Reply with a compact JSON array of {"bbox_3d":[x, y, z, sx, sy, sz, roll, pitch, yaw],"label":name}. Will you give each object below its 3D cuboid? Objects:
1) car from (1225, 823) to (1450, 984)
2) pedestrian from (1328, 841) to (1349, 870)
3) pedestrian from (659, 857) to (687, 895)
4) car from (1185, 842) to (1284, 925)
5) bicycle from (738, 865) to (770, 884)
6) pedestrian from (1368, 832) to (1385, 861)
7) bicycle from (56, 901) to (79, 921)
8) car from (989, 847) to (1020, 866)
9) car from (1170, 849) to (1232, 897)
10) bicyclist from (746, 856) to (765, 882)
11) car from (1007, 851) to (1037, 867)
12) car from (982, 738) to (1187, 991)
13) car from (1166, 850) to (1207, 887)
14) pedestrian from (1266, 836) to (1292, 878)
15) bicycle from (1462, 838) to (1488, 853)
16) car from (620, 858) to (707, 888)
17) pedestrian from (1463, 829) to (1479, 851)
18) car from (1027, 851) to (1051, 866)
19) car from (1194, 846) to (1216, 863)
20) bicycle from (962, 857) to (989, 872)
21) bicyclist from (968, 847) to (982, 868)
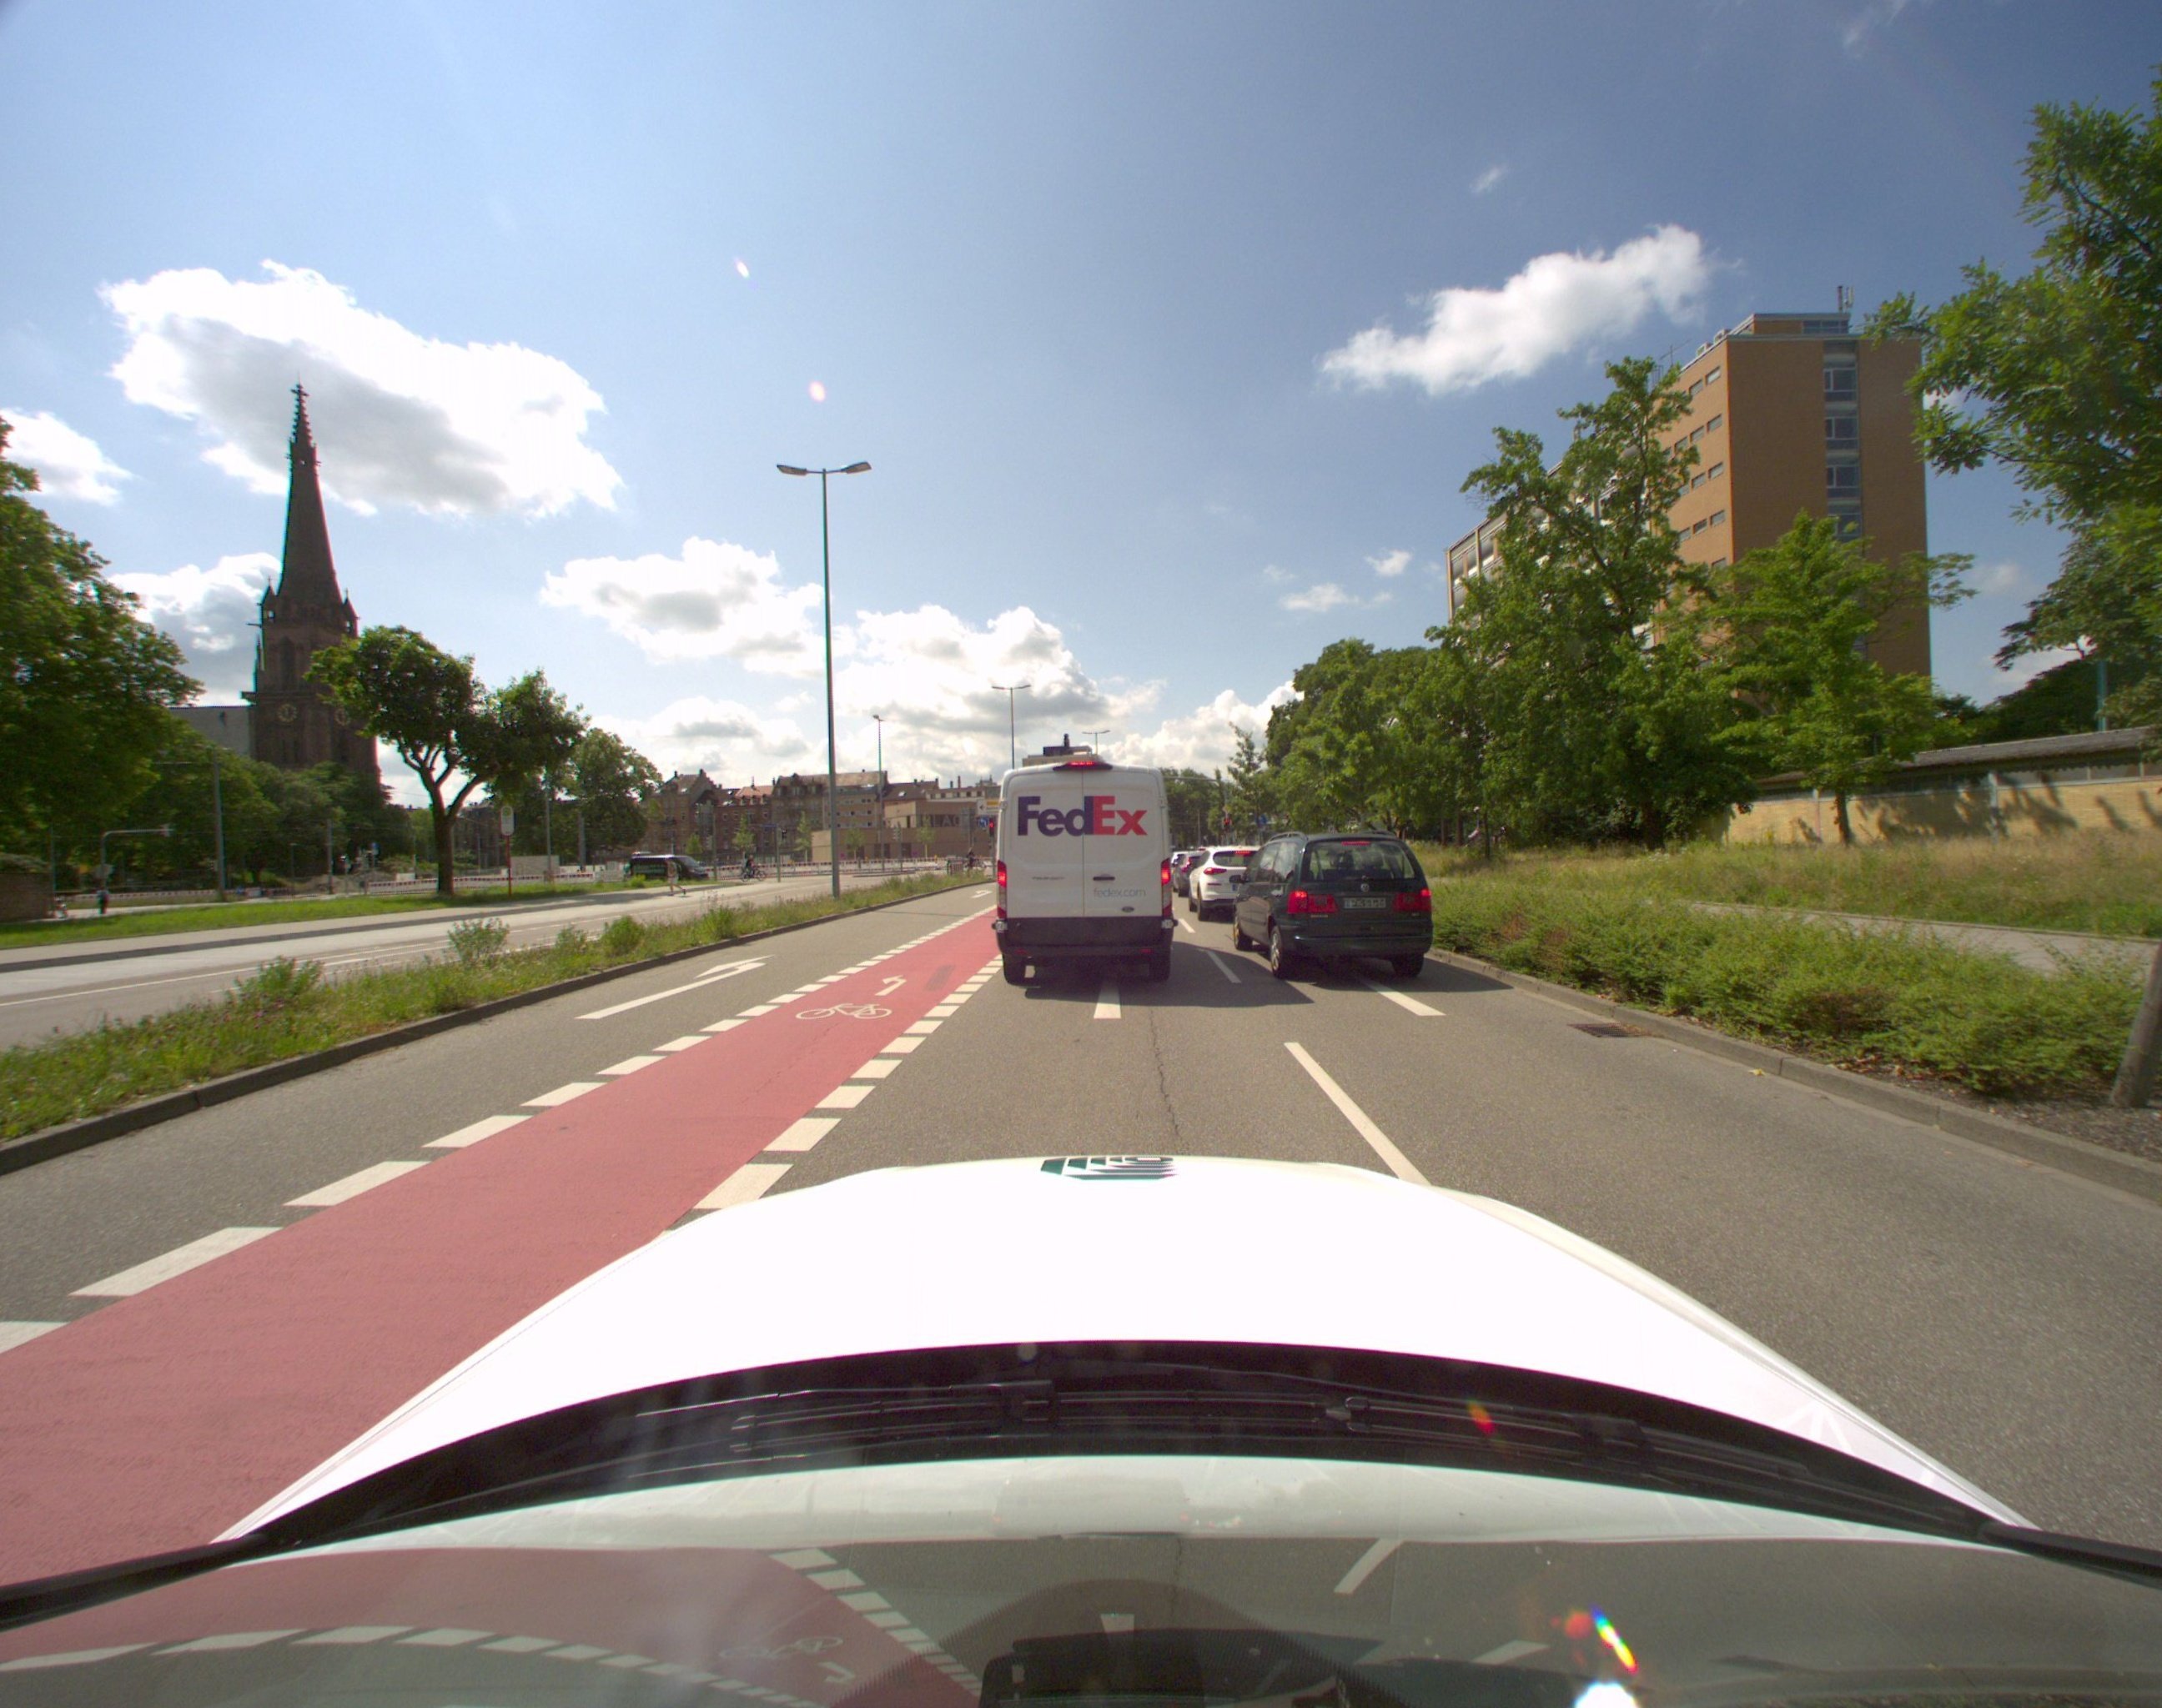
[{"bbox_3d":[3.205,0.527,11.142,1.805,1.734,4.390,-1,0,2],"label":"car"},{"bbox_3d":[13.770,0.075,43.607,0.841,1.539,0.835,-2,0,1],"label":"pedestrian"},{"bbox_3d":[-17.607,0.944,35.151,0.548,1.560,0.881,-2,0,40],"label":"pedestrian"},{"bbox_3d":[3.482,0.598,19.125,1.790,1.687,4.005,-2,0,4],"label":"car"},{"bbox_3d":[-24.203,1.517,60.324,2.059,1.290,0.603,-2,0,-3],"label":"bicycle"},{"bbox_3d":[21.279,-0.507,58.607,0.739,2.058,0.843,-2,0,-14],"label":"pedestrian"},{"bbox_3d":[-50.202,2.821,40.336,1.644,0.902,0.549,-2,0,43],"label":"bicycle"},{"bbox_3d":[-8.427,0.303,89.993,1.978,2.013,4.017,-2,0,16],"label":"car"},{"bbox_3d":[4.043,0.605,27.958,1.790,1.461,3.842,-2,0,4],"label":"car"},{"bbox_3d":[-24.182,1.119,60.446,1.116,1.844,0.593,-2,1,-3],"label":"bicyclist"},{"bbox_3d":[-6.410,0.535,88.710,1.886,1.585,4.017,-2,0,16],"label":"car"},{"bbox_3d":[-0.055,0.104,11.531,2.135,2.652,5.699,-1,0,-2],"label":"car"},{"bbox_3d":[4.446,0.585,34.624,1.478,1.428,3.436,-2,0,4],"label":"car"},{"bbox_3d":[9.047,0.136,37.237,0.947,1.892,0.774,-2,0,1],"label":"pedestrian"},{"bbox_3d":[27.512,-0.594,56.891,1.557,0.955,0.488,-2,0,21],"label":"bicycle"},{"bbox_3d":[-29.153,1.287,57.029,4.995,1.879,1.928,-2,1,-2],"label":"car"},{"bbox_3d":[27.277,-0.989,56.968,0.891,1.472,0.488,-2,0,21],"label":"pedestrian"},{"bbox_3d":[-4.843,0.515,94.862,1.867,1.652,4.011,-2,0,10],"label":"car"},{"bbox_3d":[13.701,0.030,89.602,1.980,1.794,4.387,-2,0,13],"label":"car"},{"bbox_3d":[-7.848,0.744,60.391,1.917,1.030,0.547,-2,0,-6],"label":"bicycle"},{"bbox_3d":[-7.872,0.260,60.391,0.966,1.474,0.550,-2,0,-6],"label":"bicyclist"}]
